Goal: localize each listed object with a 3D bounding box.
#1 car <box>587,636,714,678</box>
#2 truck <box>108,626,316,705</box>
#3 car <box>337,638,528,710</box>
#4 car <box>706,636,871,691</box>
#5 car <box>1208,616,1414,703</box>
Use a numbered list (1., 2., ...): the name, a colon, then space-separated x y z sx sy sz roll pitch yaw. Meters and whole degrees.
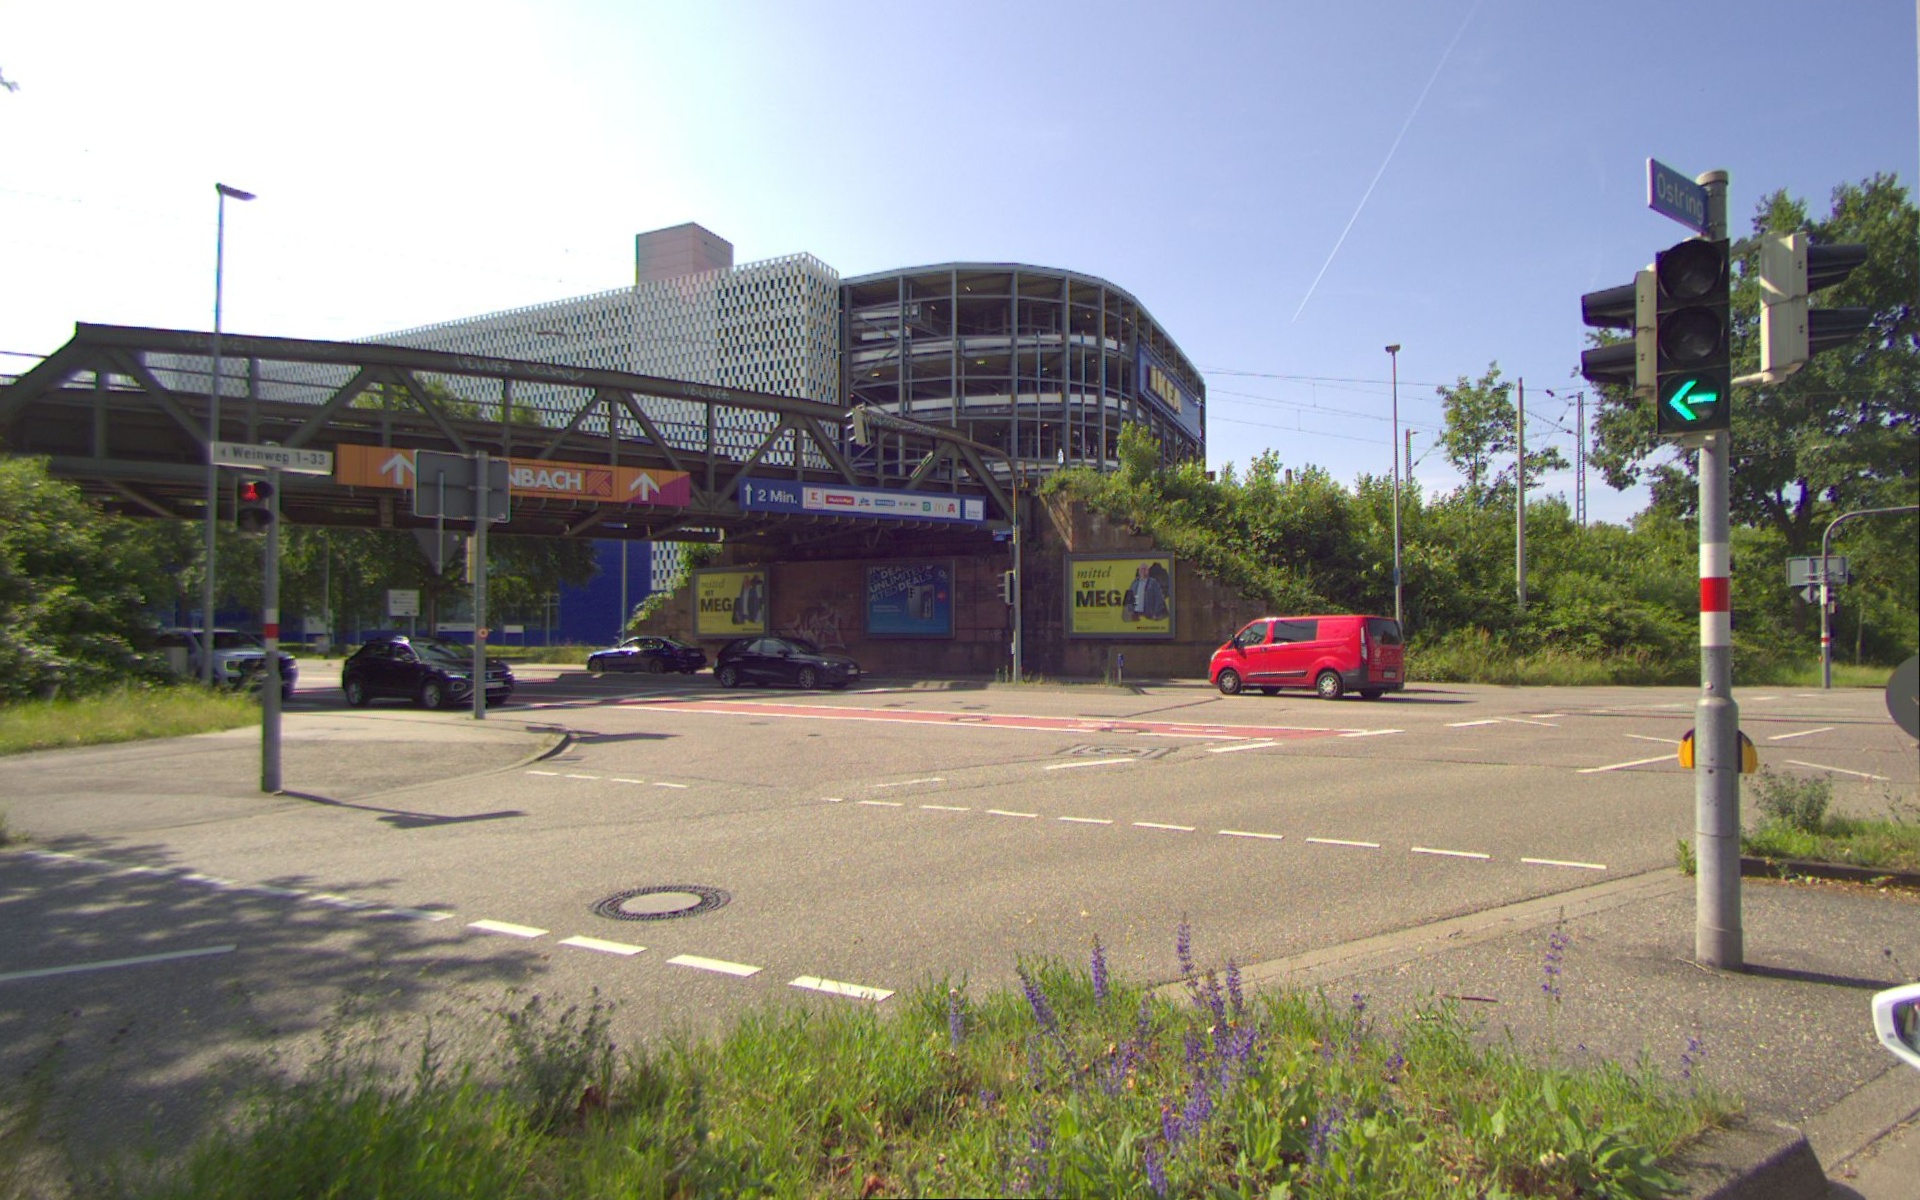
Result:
1. car: -11.162 2.025 36.186 4.242 1.415 1.791 -1 -2 24
2. truck: -19.352 1.614 25.968 5.224 1.844 2.031 -1 0 25
3. car: -11.889 1.608 22.646 3.869 1.500 1.822 -1 -2 24
4. car: -4.742 1.722 27.780 4.252 1.413 1.771 -1 -2 24
5. car: 8.543 1.415 24.806 1.956 1.950 4.514 2 -2 -36
